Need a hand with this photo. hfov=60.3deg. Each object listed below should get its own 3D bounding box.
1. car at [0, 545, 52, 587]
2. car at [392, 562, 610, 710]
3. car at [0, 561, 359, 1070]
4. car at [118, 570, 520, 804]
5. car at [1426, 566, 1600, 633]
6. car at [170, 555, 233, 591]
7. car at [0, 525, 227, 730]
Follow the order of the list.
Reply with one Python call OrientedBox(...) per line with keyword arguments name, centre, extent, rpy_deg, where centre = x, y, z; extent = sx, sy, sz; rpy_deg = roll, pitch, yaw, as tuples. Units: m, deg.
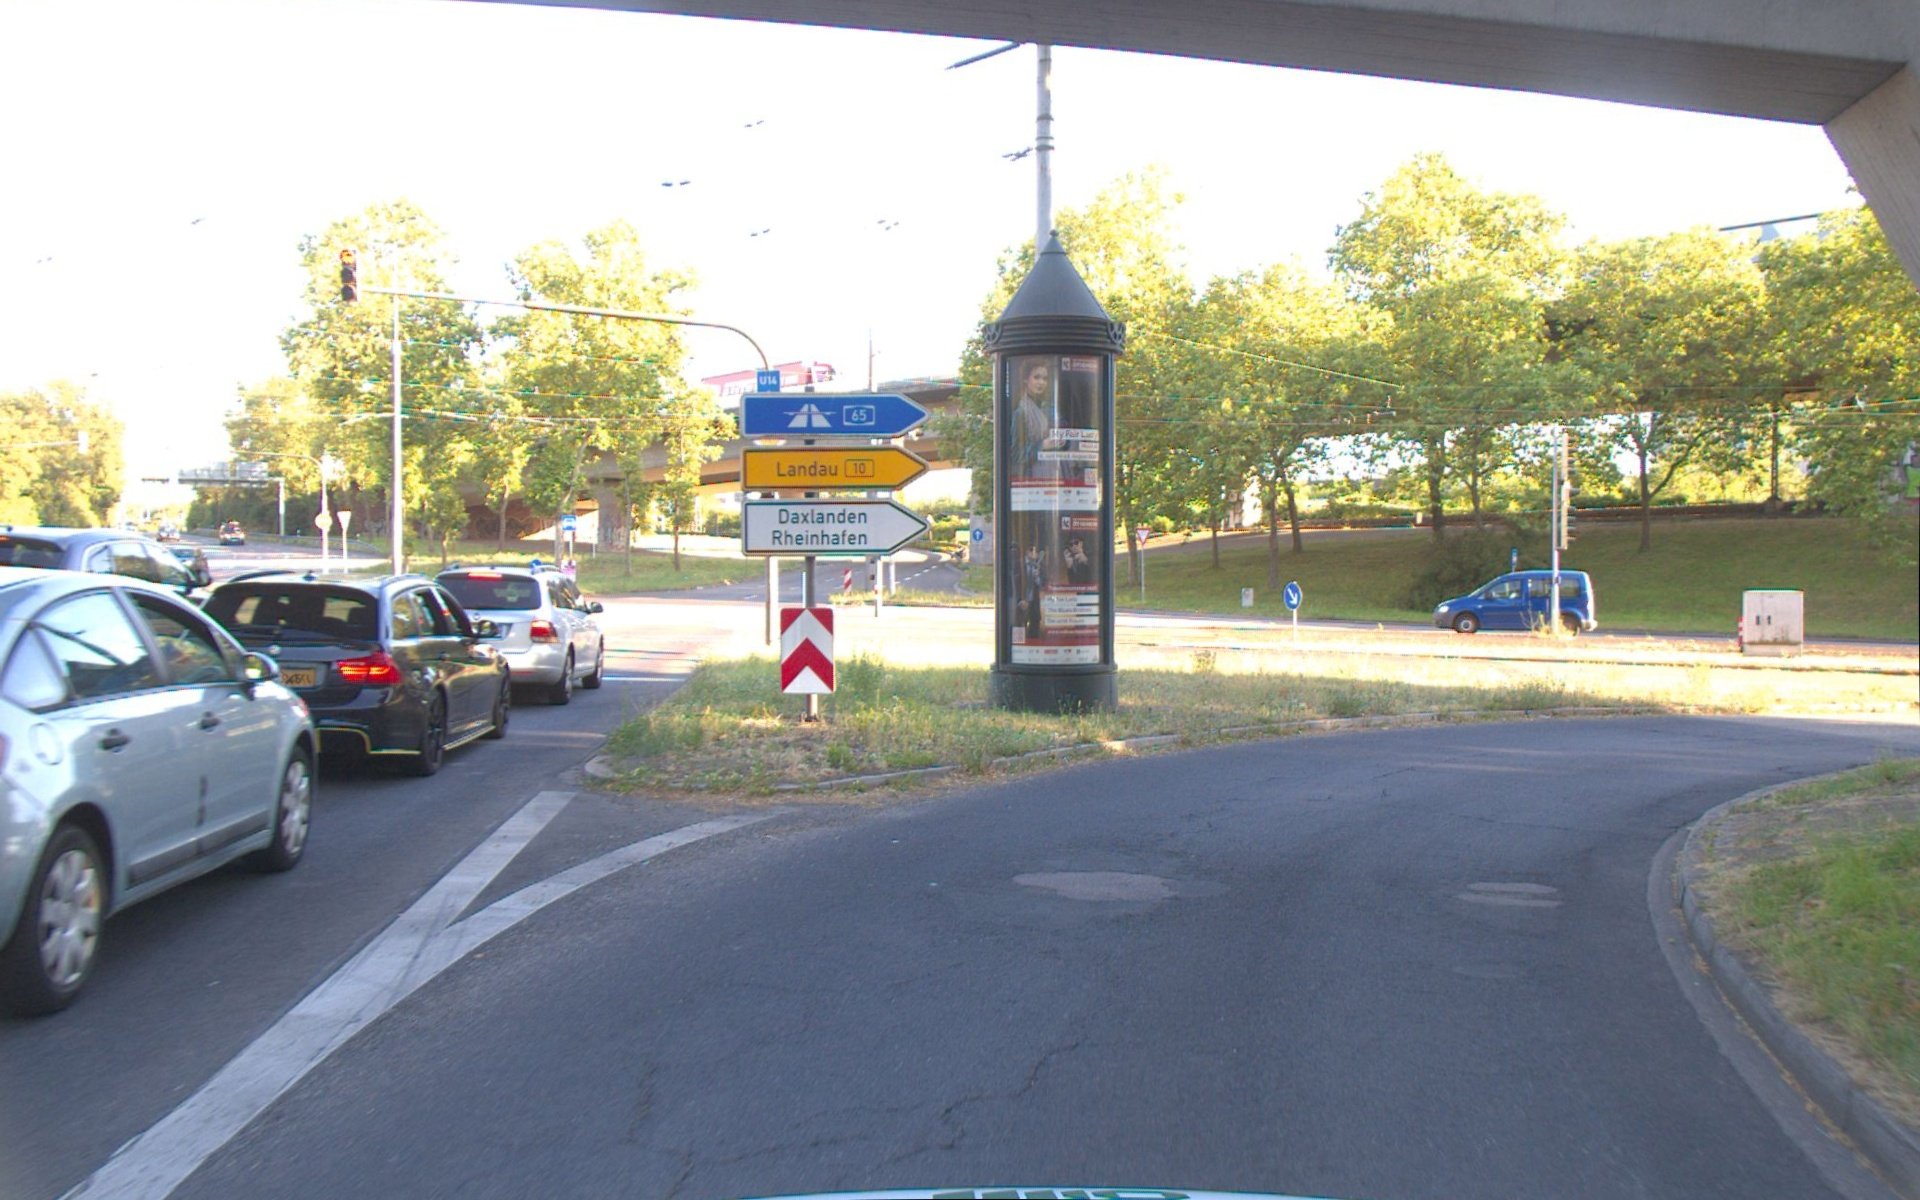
OrientedBox(name="car", centre=(-41.576, -1.510, 72.391), extent=(1.843, 1.802, 3.994), rpy_deg=(1, 1, -8))
OrientedBox(name="car", centre=(-5.199, 0.325, 19.235), extent=(1.758, 1.467, 3.995), rpy_deg=(-2, 2, -6))
OrientedBox(name="car", centre=(-3.913, 0.624, 6.790), extent=(1.758, 1.507, 3.995), rpy_deg=(-2, 2, -6))
OrientedBox(name="car", centre=(-4.698, 0.514, 12.861), extent=(1.758, 1.406, 4.471), rpy_deg=(-2, 2, -6))
OrientedBox(name="car", centre=(15.355, -0.038, 46.139), extent=(4.407, 1.722, 2.002), rpy_deg=(1, 1, 14))
OrientedBox(name="car", centre=(-39.386, -1.403, 86.011), extent=(1.843, 1.802, 3.994), rpy_deg=(1, 1, -8))
OrientedBox(name="car", centre=(-9.173, 0.208, 17.163), extent=(1.760, 1.823, 4.814), rpy_deg=(-2, 2, -11))
